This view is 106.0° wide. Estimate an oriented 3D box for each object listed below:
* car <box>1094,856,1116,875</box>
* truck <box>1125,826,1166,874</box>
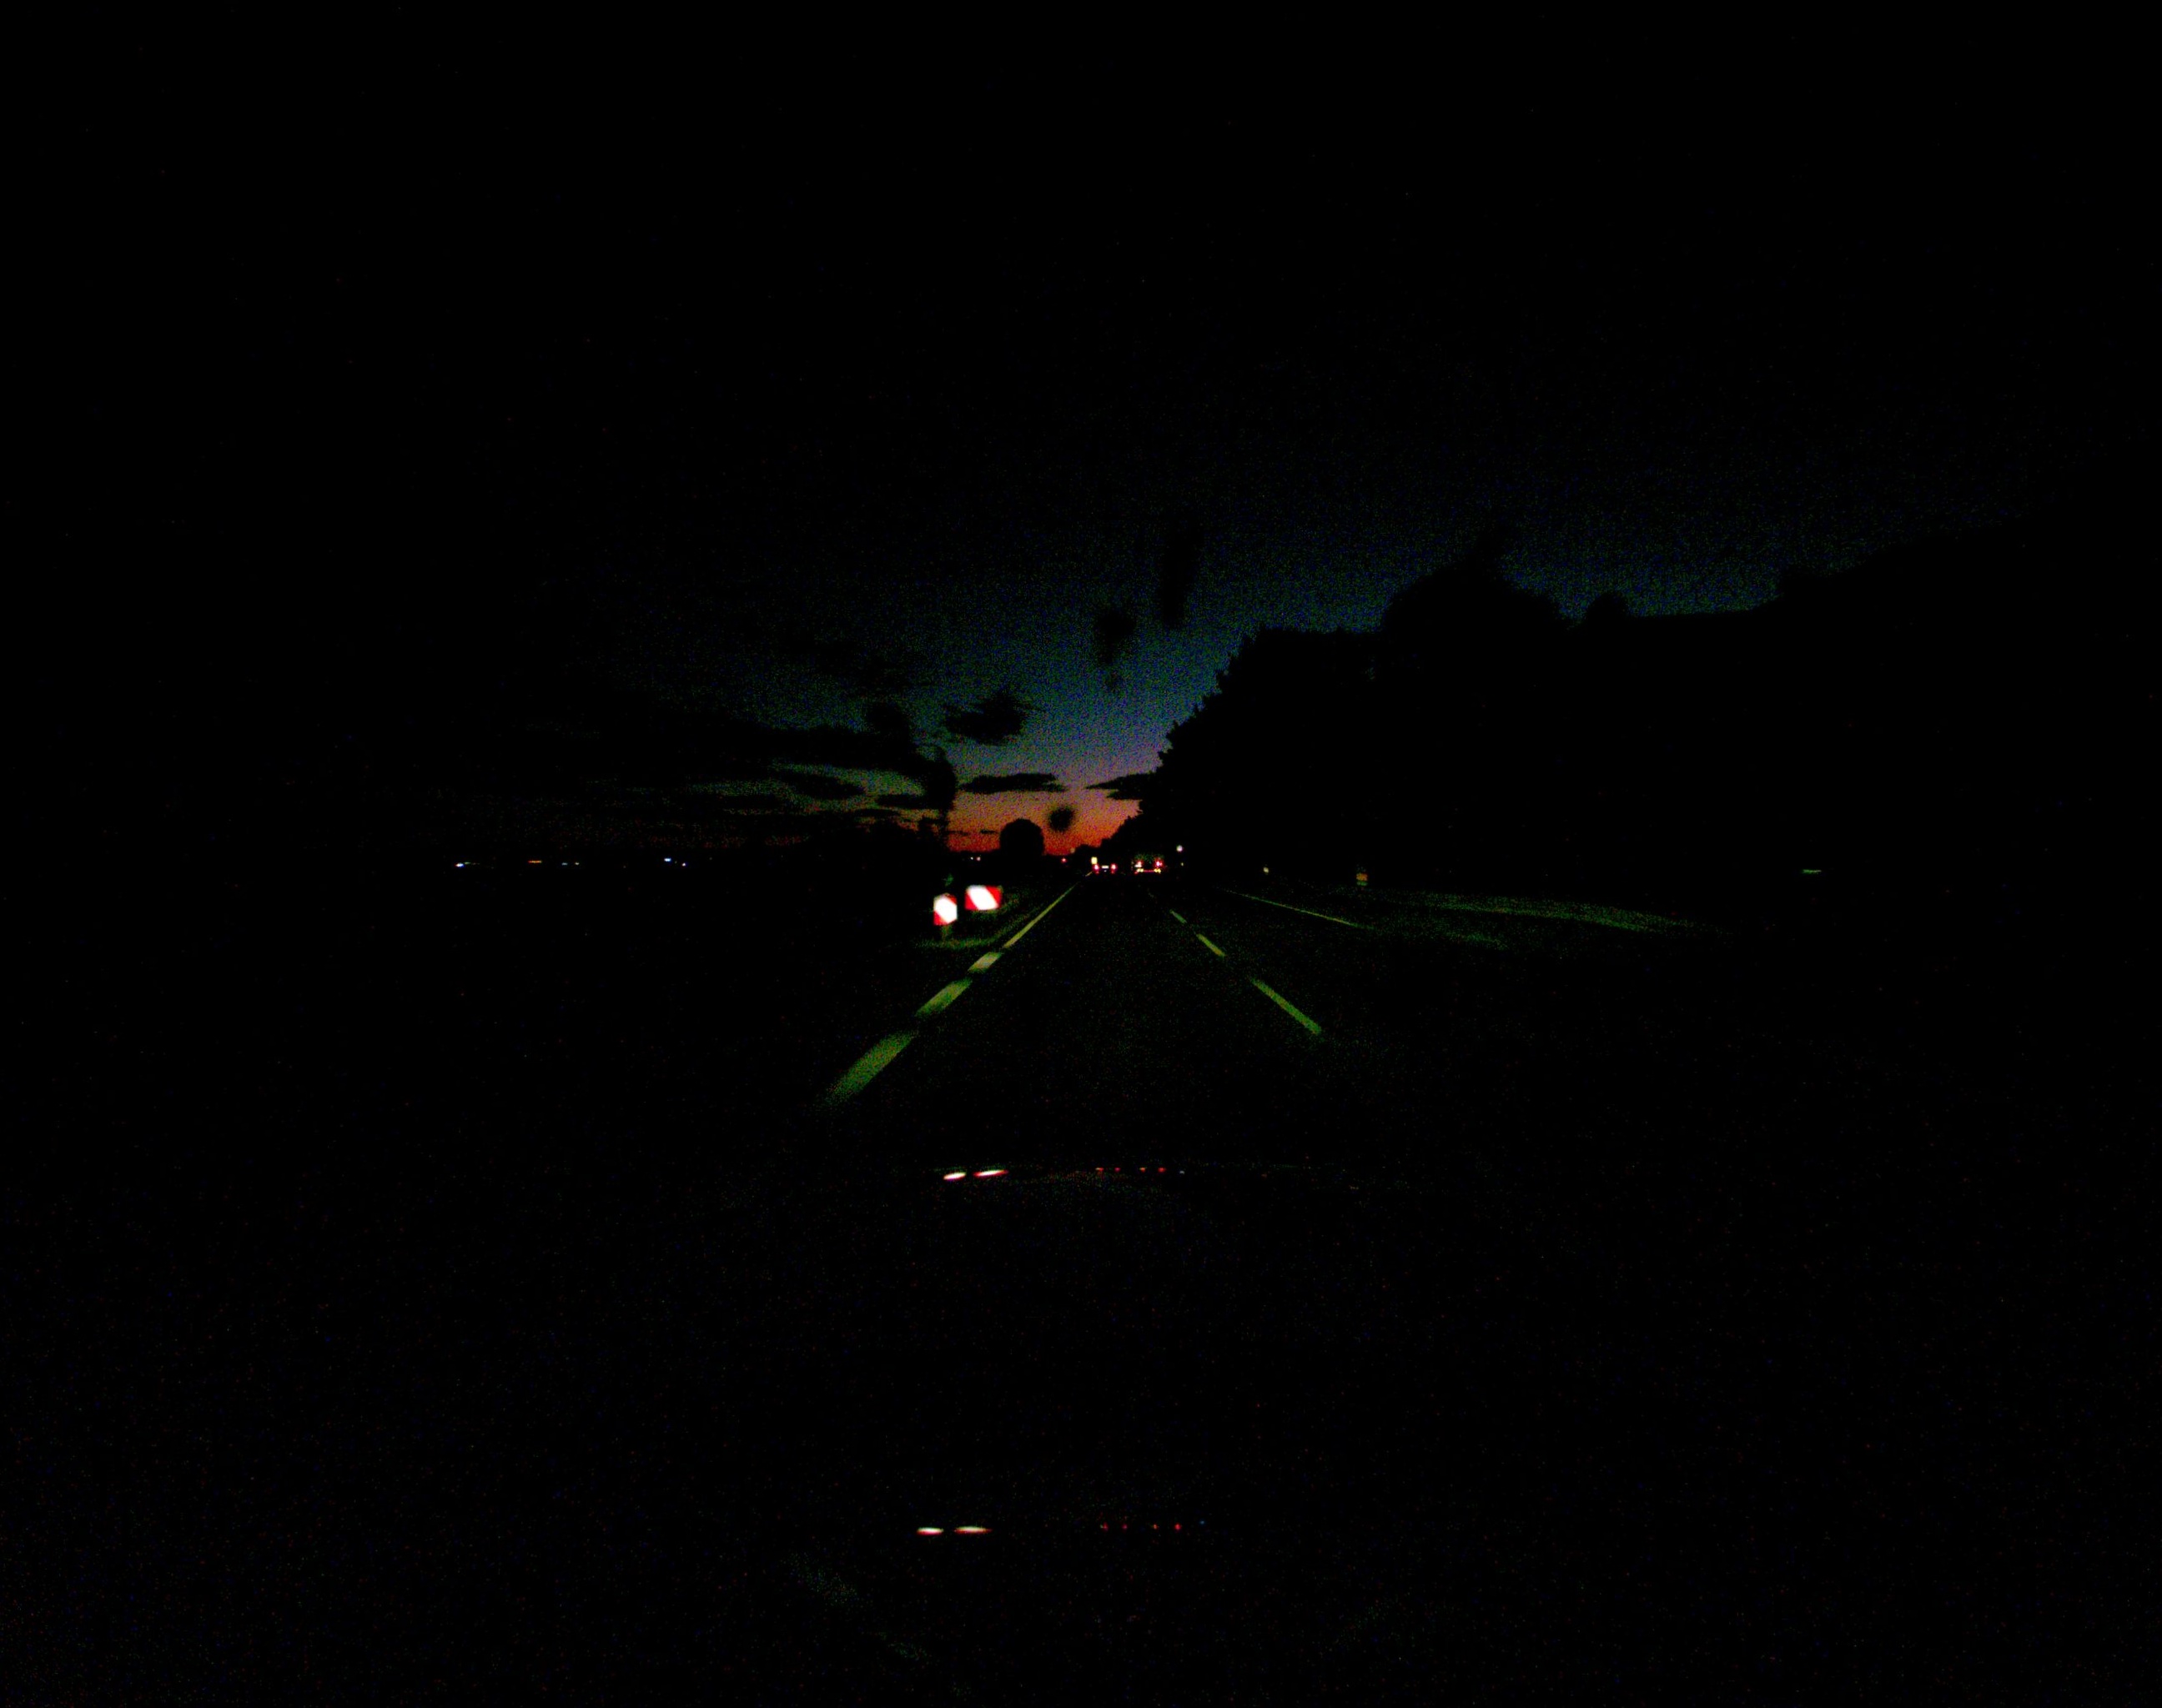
[{"bbox_3d":[1.898,0.902,65.088,1.690,1.452,3.914,0,0,0],"label":"car"},{"bbox_3d":[5.899,-0.337,76.156,2.873,4.106,12.682,0,0,0],"label":"truck"}]
